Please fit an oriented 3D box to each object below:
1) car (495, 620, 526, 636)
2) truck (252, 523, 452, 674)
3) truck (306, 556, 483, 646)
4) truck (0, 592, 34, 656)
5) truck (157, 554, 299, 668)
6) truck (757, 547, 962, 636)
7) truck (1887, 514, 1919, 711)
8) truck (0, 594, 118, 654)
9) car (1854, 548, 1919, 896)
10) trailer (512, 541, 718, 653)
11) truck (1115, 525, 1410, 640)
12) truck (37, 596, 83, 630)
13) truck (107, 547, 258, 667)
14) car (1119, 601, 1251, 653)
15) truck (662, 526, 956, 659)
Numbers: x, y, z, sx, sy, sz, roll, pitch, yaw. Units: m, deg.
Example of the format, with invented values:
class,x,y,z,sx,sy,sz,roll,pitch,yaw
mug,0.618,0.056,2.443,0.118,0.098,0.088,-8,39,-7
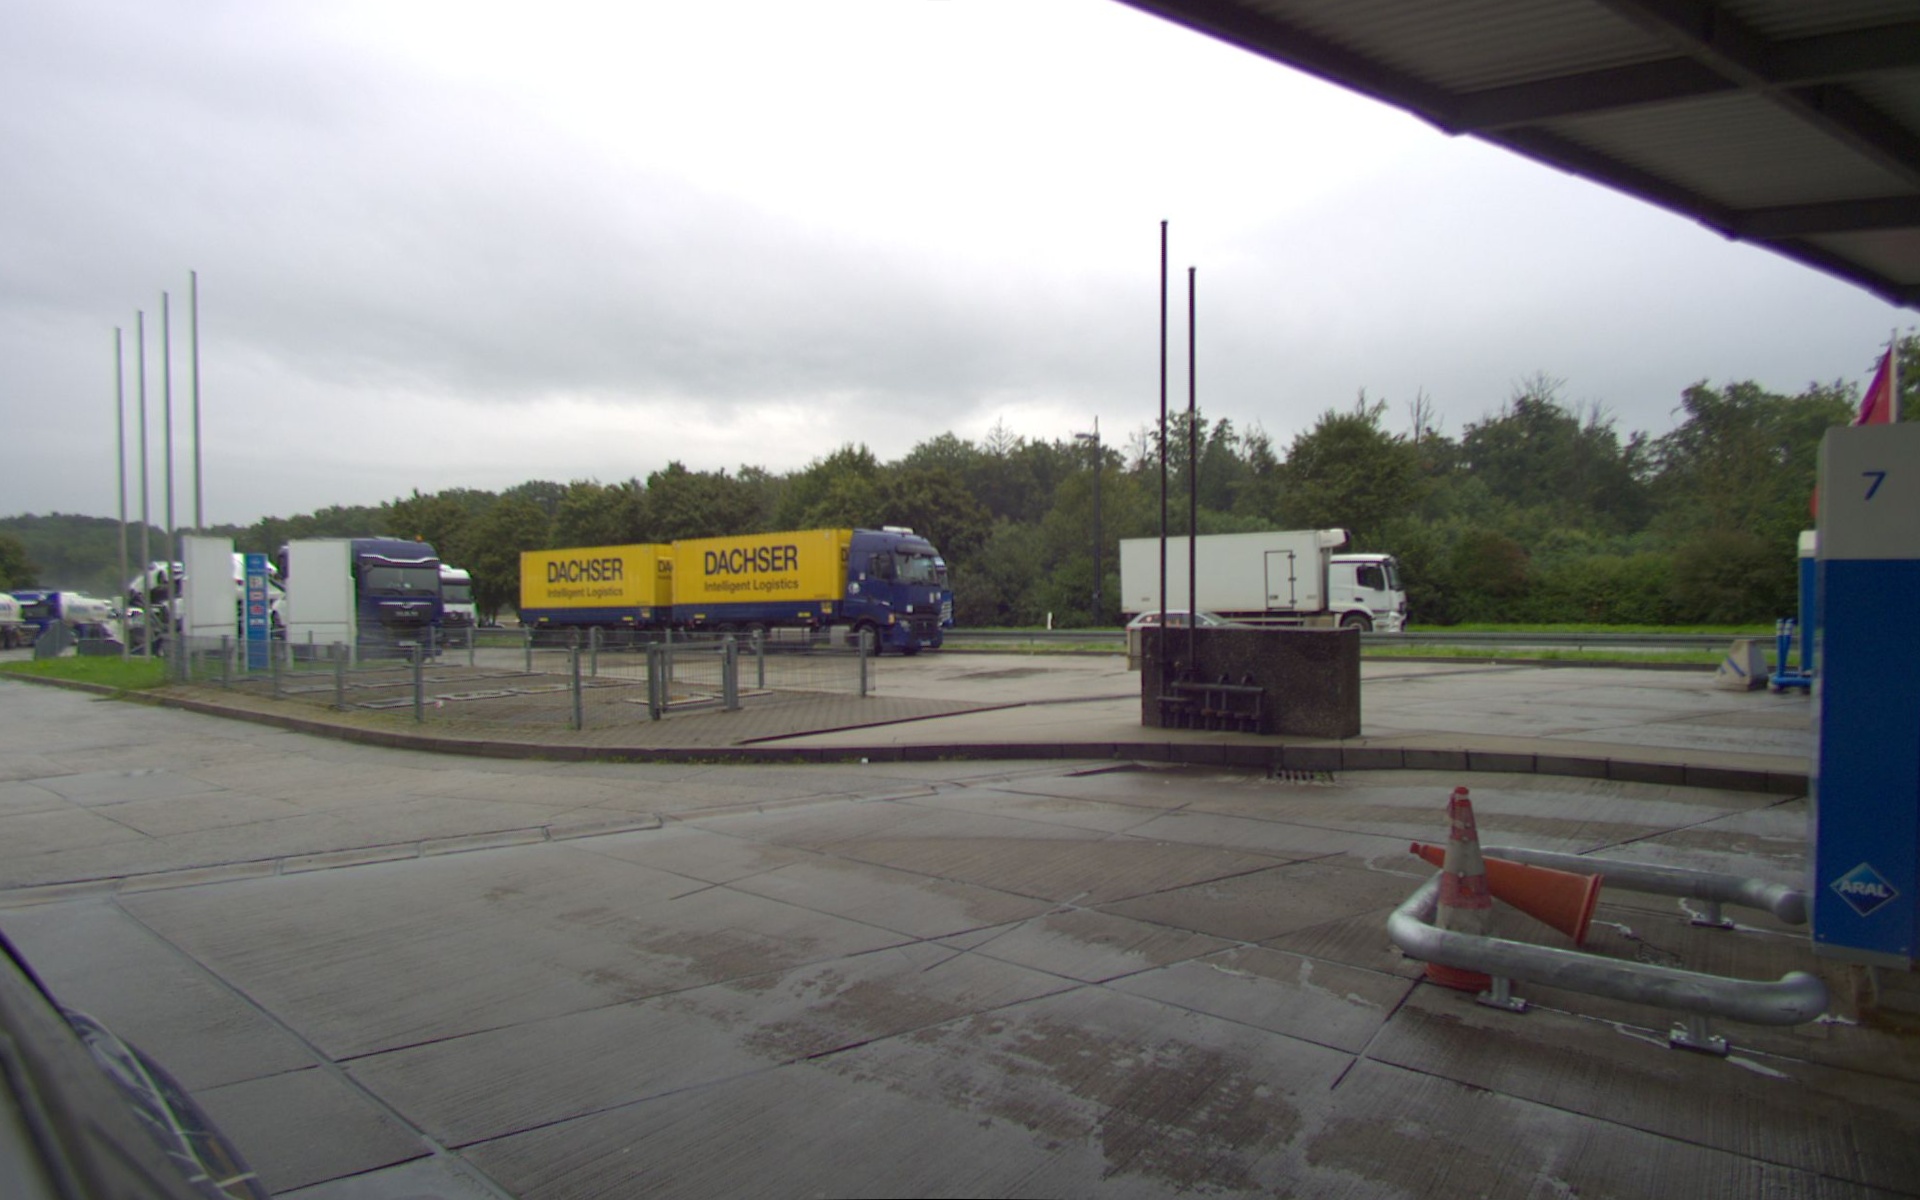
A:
class,x,y,z,sx,sy,sz,roll,pitch,yaw
car,-52.811,3.280,118.859,3.998,1.837,1.865,-1,0,41
truck,-19.010,0.006,31.480,7.089,4.213,2.635,-1,0,35
truck,-27.320,0.099,48.631,10.654,3.946,2.727,-1,0,33
truck,-55.157,1.334,53.691,3.454,3.633,14.444,-1,-1,-19
truck,-26.108,0.391,36.076,4.738,3.800,2.635,-1,0,34
truck,-4.880,-0.320,47.646,10.195,3.836,2.395,-1,0,31
truck,14.991,0.120,11.957,5.859,2.513,2.208,-1,0,41
truck,-61.496,1.617,68.659,3.454,3.633,14.709,-1,-1,-27
car,6.909,0.538,3.802,5.269,1.620,1.842,-1,0,41
trailer,-13.501,-0.078,39.260,8.679,3.946,2.728,-1,0,32
truck,10.968,-0.523,37.451,10.195,3.836,2.395,-1,0,31
truck,-143.207,2.070,160.949,11.498,5.160,3.109,-1,0,36
truck,-29.590,0.294,38.449,6.605,4.213,2.635,-1,0,35
car,7.519,0.871,33.848,3.985,1.641,1.759,0,0,31
truck,-5.338,-0.183,34.031,10.654,3.946,2.727,-1,0,33
